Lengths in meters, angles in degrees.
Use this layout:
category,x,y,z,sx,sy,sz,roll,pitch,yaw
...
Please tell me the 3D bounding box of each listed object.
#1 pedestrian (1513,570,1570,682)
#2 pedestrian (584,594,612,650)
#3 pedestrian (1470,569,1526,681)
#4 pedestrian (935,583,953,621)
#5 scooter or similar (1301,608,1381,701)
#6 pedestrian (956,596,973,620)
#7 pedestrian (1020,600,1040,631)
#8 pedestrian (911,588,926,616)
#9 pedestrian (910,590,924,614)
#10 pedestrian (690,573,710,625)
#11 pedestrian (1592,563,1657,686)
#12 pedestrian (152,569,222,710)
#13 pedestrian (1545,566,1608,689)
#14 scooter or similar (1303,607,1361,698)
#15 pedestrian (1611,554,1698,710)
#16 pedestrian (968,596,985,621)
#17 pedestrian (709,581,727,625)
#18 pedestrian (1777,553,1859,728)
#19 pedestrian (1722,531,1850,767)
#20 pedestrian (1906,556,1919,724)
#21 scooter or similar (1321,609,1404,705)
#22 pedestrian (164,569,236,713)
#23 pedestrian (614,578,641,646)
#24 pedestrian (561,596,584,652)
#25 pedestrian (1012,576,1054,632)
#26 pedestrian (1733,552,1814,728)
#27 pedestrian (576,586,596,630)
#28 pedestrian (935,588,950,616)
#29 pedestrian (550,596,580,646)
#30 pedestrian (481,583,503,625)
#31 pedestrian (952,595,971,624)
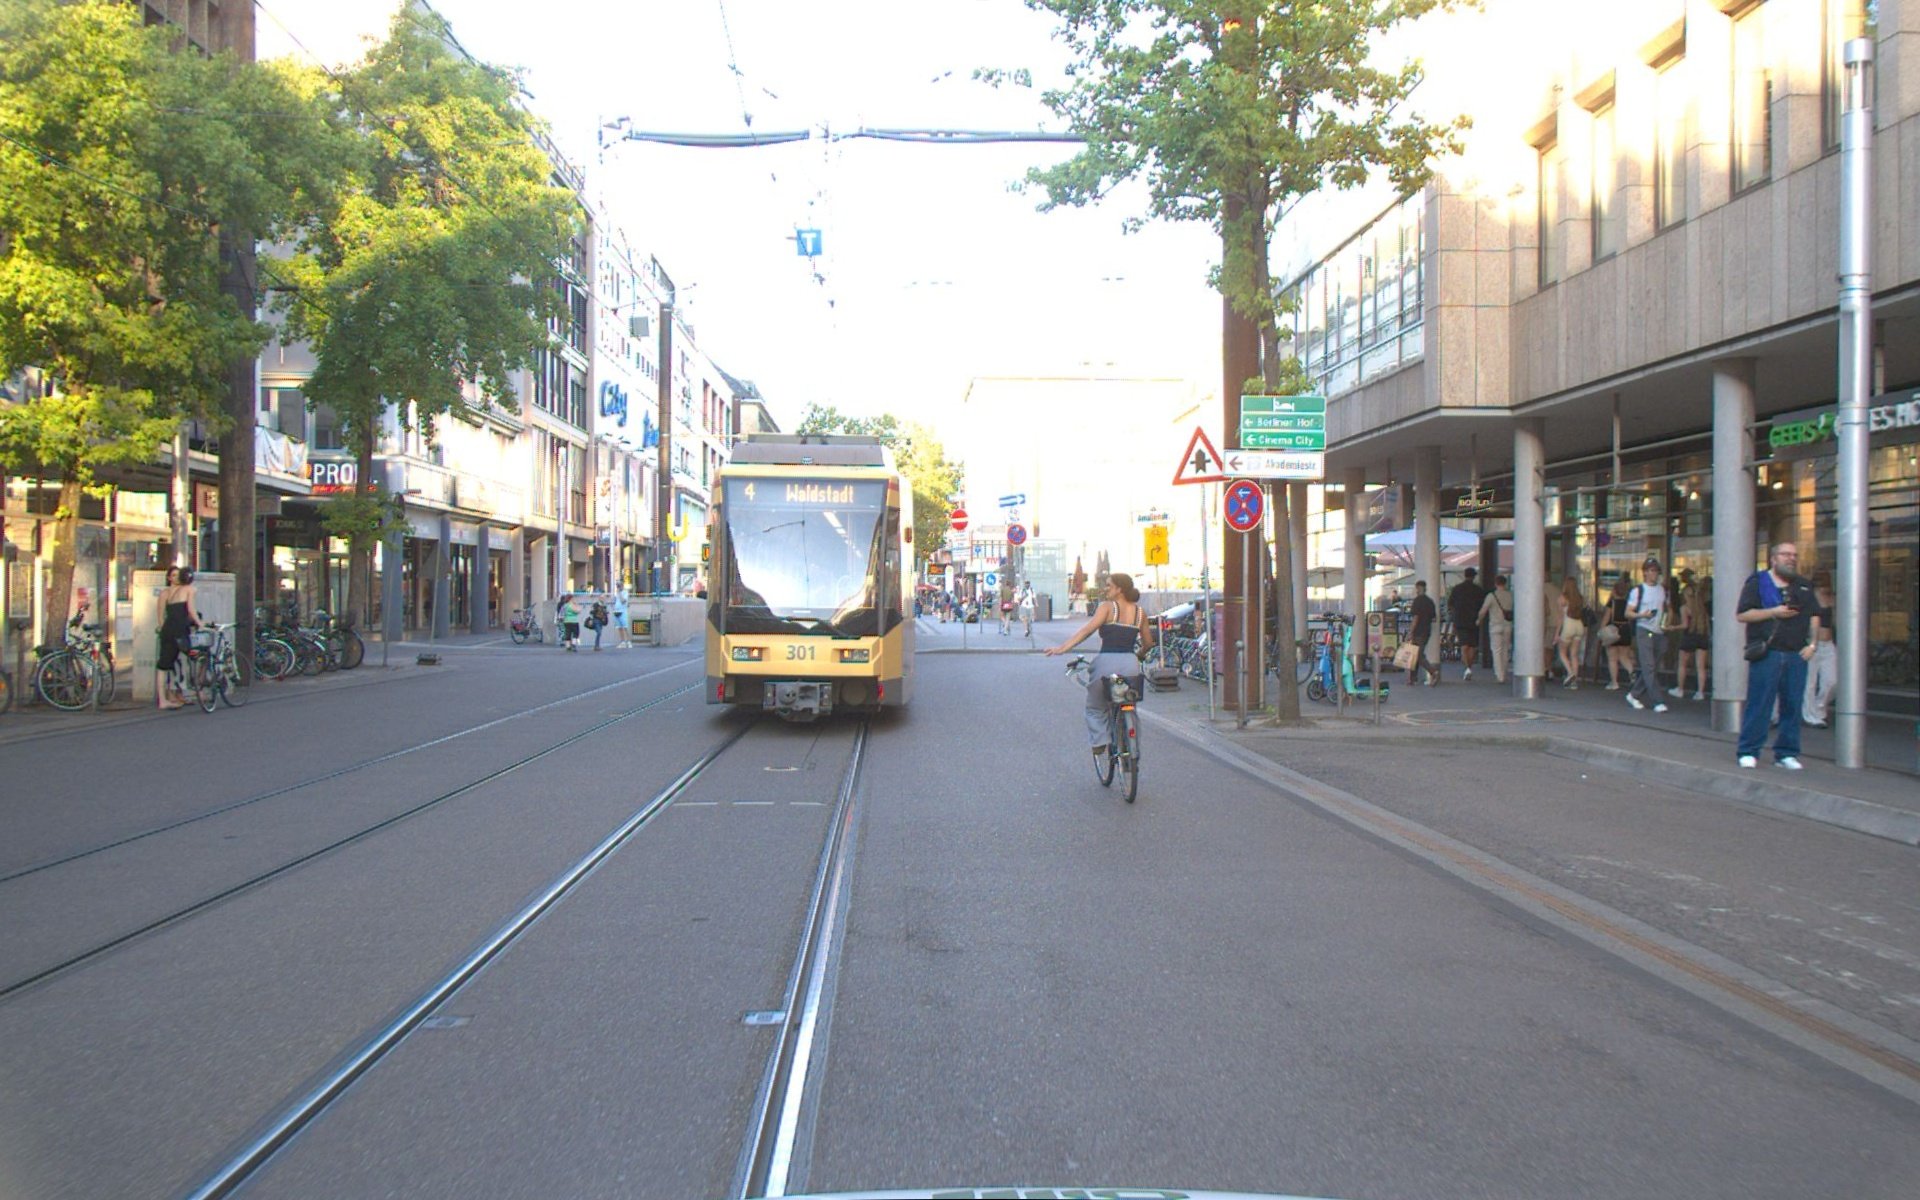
category,x,y,z,sx,sy,sz,roll,pitch,yaw
pedestrian,9.576,0.423,27.255,0.649,1.818,0.719,-1,0,-2
pedestrian,-10.140,0.609,46.353,0.670,1.569,0.605,0,-1,-3
pedestrian,8.888,0.412,27.331,0.649,1.818,0.719,-1,0,-2
pedestrian,-0.804,0.095,82.142,0.722,1.855,0.816,0,0,-17
scooter or similar,5.475,0.767,23.764,1.176,1.273,0.389,-1,1,-32
pedestrian,0.236,0.427,85.866,0.777,1.243,0.768,0,0,-6
pedestrian,3.788,0.834,89.700,0.763,1.690,0.782,0,0,-43
pedestrian,-2.566,0.111,101.844,0.750,1.690,0.795,0,0,10
pedestrian,-3.001,0.143,115.508,0.775,1.690,0.770,0,0,9
pedestrian,-9.739,-0.032,61.975,0.700,1.959,0.708,0,-1,-7
pedestrian,10.062,0.369,25.064,0.649,1.818,0.719,-1,0,-2
pedestrian,-9.671,0.485,20.691,0.589,1.729,0.535,1,0,27
pedestrian,9.331,0.412,25.068,0.649,1.818,0.719,-1,0,-1
scooter or similar,5.491,0.756,24.399,0.385,1.273,1.187,0,1,36
pedestrian,8.565,0.386,20.421,0.655,1.872,0.879,-1,0,-2
pedestrian,0.856,0.434,85.088,0.777,1.243,0.768,0,0,-6
pedestrian,-9.519,0.133,65.051,0.700,1.727,0.784,0,-1,-8
pedestrian,9.234,0.429,17.809,0.528,1.838,0.604,-1,0,-3
pedestrian,6.744,0.391,13.533,0.655,1.872,0.708,-1,0,-3
pedestrian,10.395,0.418,17.336,0.559,1.762,0.617,-1,0,-3
scooter or similar,5.592,0.781,22.982,1.102,1.273,0.491,-1,1,-33
pedestrian,-9.285,0.488,20.209,0.589,1.729,0.535,1,0,27
pedestrian,-9.680,0.352,48.180,0.759,1.960,0.708,0,-1,-10
pedestrian,-10.683,0.660,45.614,0.592,1.520,0.554,0,-1,-10
pedestrian,2.495,0.143,56.661,1.004,1.896,1.030,1,-1,-33
pedestrian,8.709,0.421,17.726,0.528,1.838,0.604,-1,0,-3
pedestrian,-15.020,0.330,66.431,0.699,1.756,0.709,0,-1,-4
pedestrian,-1.050,0.107,98.070,0.775,1.690,0.770,0,0,9
pedestrian,-11.691,0.612,48.937,0.544,1.459,0.682,-1,-1,35
pedestrian,-19.416,0.162,68.630,0.699,1.756,0.709,0,-1,-4
pedestrian,0.068,0.508,89.934,0.752,1.606,0.794,0,0,27
